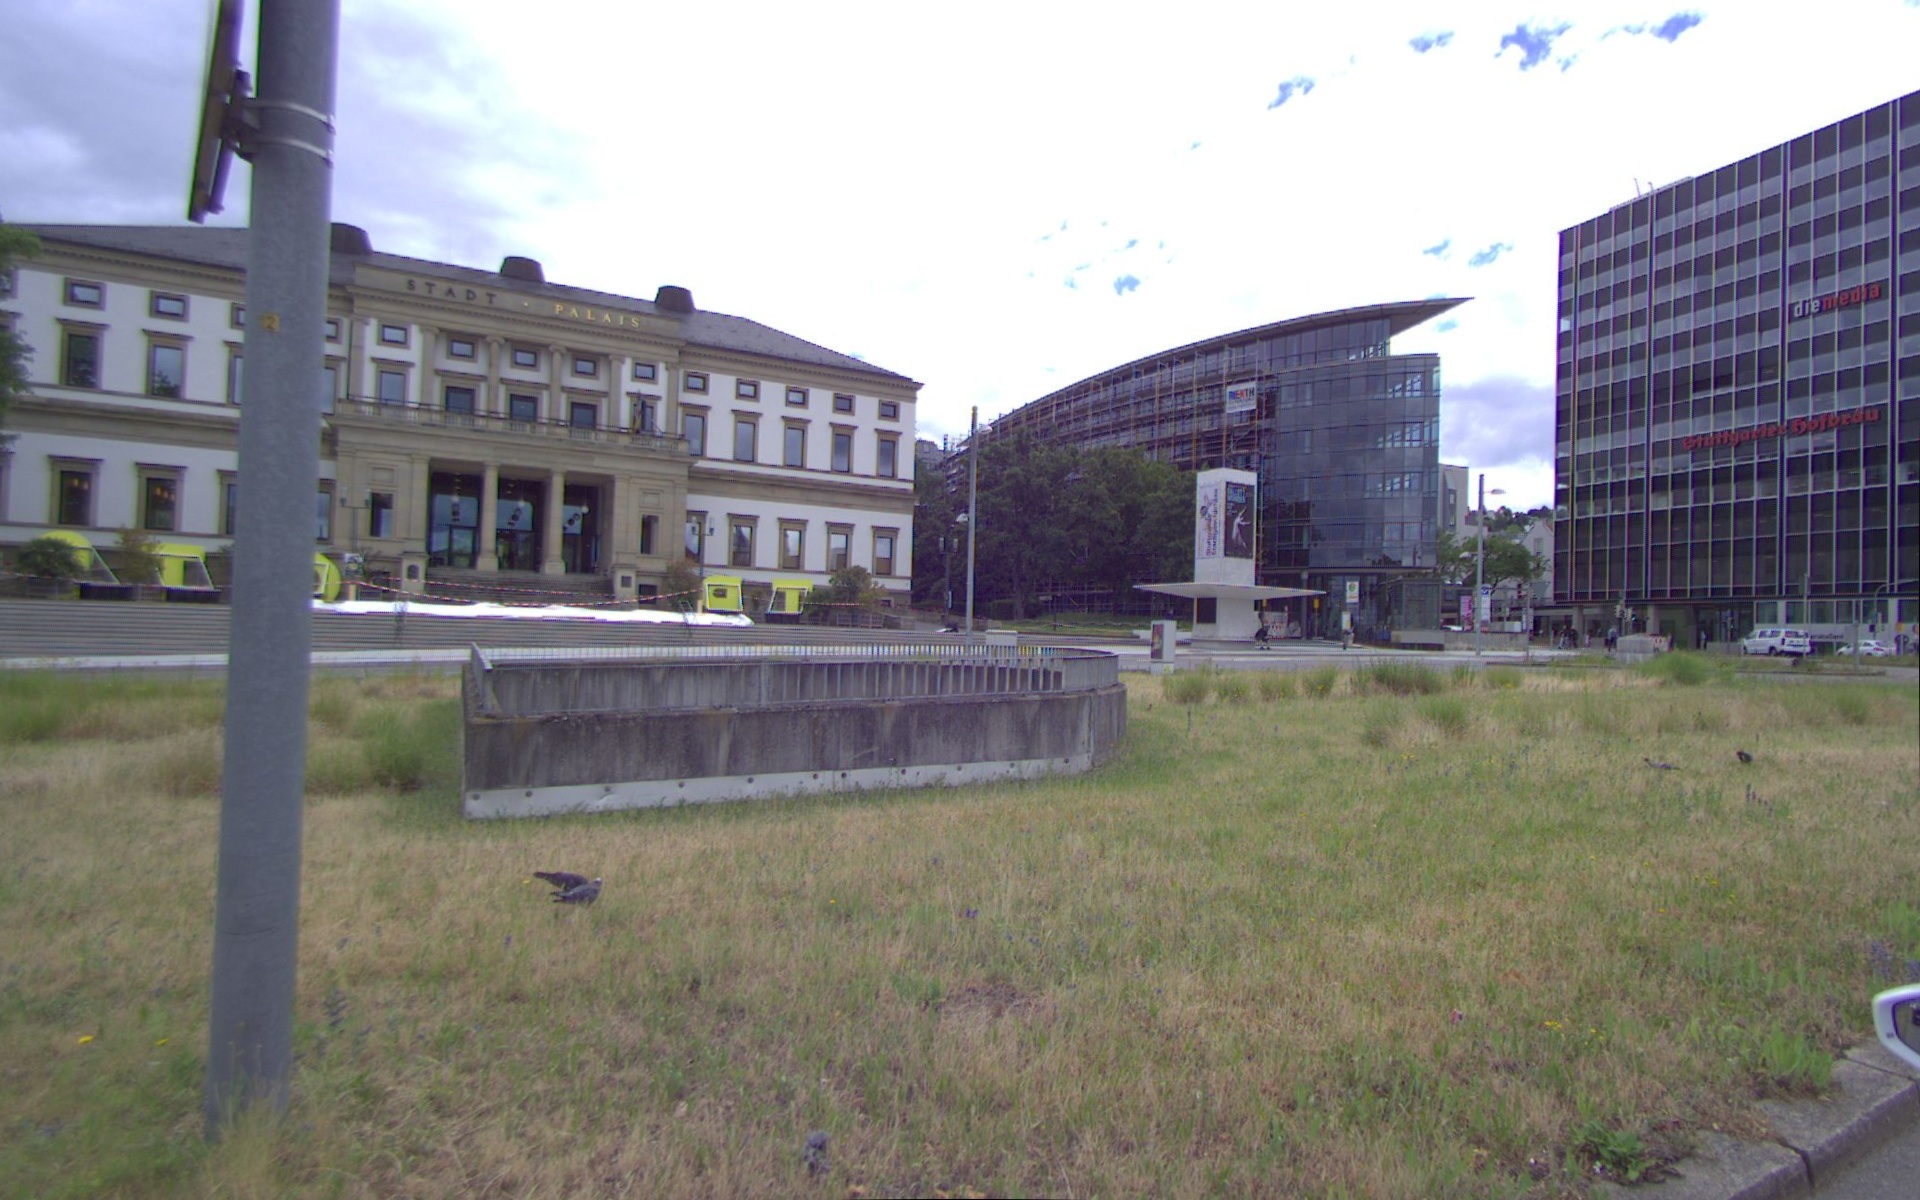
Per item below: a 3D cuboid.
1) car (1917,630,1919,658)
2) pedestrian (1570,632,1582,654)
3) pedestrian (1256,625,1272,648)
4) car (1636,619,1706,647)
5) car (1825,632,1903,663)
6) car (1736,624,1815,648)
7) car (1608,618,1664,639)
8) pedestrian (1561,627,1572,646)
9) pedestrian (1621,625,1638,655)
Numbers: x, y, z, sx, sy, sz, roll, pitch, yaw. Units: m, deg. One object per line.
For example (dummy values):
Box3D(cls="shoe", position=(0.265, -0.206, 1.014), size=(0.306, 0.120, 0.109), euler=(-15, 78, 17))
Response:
Box3D(cls="car", position=(51.906, 2.377, 52.087), size=(1.784, 1.516, 3.907), euler=(1, 0, 18))
Box3D(cls="pedestrian", position=(44.930, 3.122, 73.237), size=(0.612, 1.614, 0.591), euler=(1, 0, 23))
Box3D(cls="pedestrian", position=(14.569, 1.757, 48.094), size=(0.552, 1.095, 0.473), euler=(1, 0, -26))
Box3D(cls="car", position=(54.310, 2.510, 76.816), size=(1.968, 2.040, 3.984), euler=(1, -1, -18))
Box3D(cls="car", position=(60.145, 3.142, 66.903), size=(1.862, 1.632, 4.001), euler=(-4, 1, 7))
Box3D(cls="car", position=(57.342, 2.539, 70.781), size=(2.206, 1.522, 4.614), euler=(1, 0, 7))
Box3D(cls="car", position=(54.949, 2.299, 81.740), size=(1.691, 1.522, 3.978), euler=(1, 0, -4))
Box3D(cls="pedestrian", position=(44.429, 2.667, 73.578), size=(0.527, 1.414, 0.654), euler=(1, 0, 23))
Box3D(cls="pedestrian", position=(53.253, 3.170, 79.933), size=(0.943, 2.393, 1.040), euler=(1, 0, 23))
